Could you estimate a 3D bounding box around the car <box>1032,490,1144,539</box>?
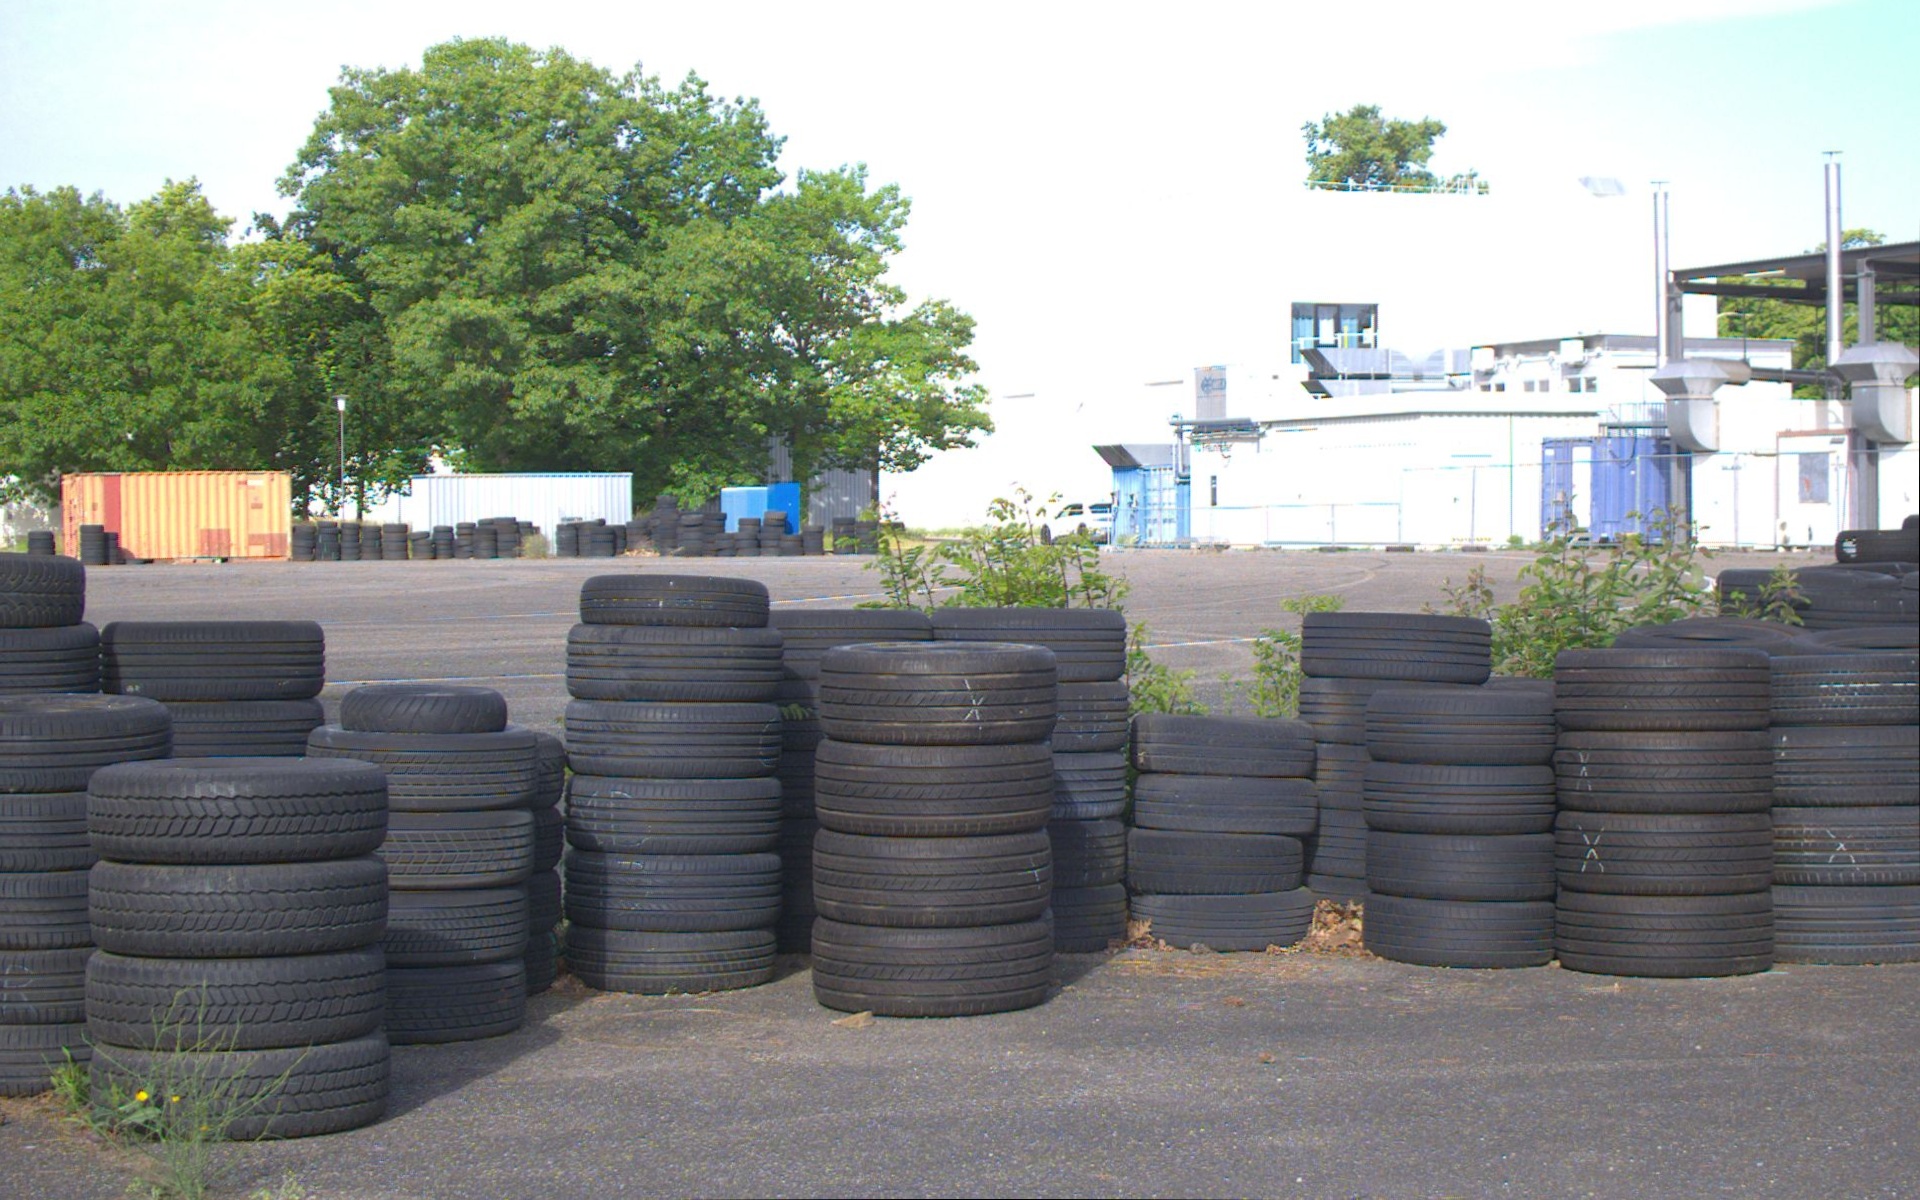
[{"bbox_3d":[4.169,-2.830,112.930,1.868,1.559,4.549,-1,2,-24],"label":"car"}]
